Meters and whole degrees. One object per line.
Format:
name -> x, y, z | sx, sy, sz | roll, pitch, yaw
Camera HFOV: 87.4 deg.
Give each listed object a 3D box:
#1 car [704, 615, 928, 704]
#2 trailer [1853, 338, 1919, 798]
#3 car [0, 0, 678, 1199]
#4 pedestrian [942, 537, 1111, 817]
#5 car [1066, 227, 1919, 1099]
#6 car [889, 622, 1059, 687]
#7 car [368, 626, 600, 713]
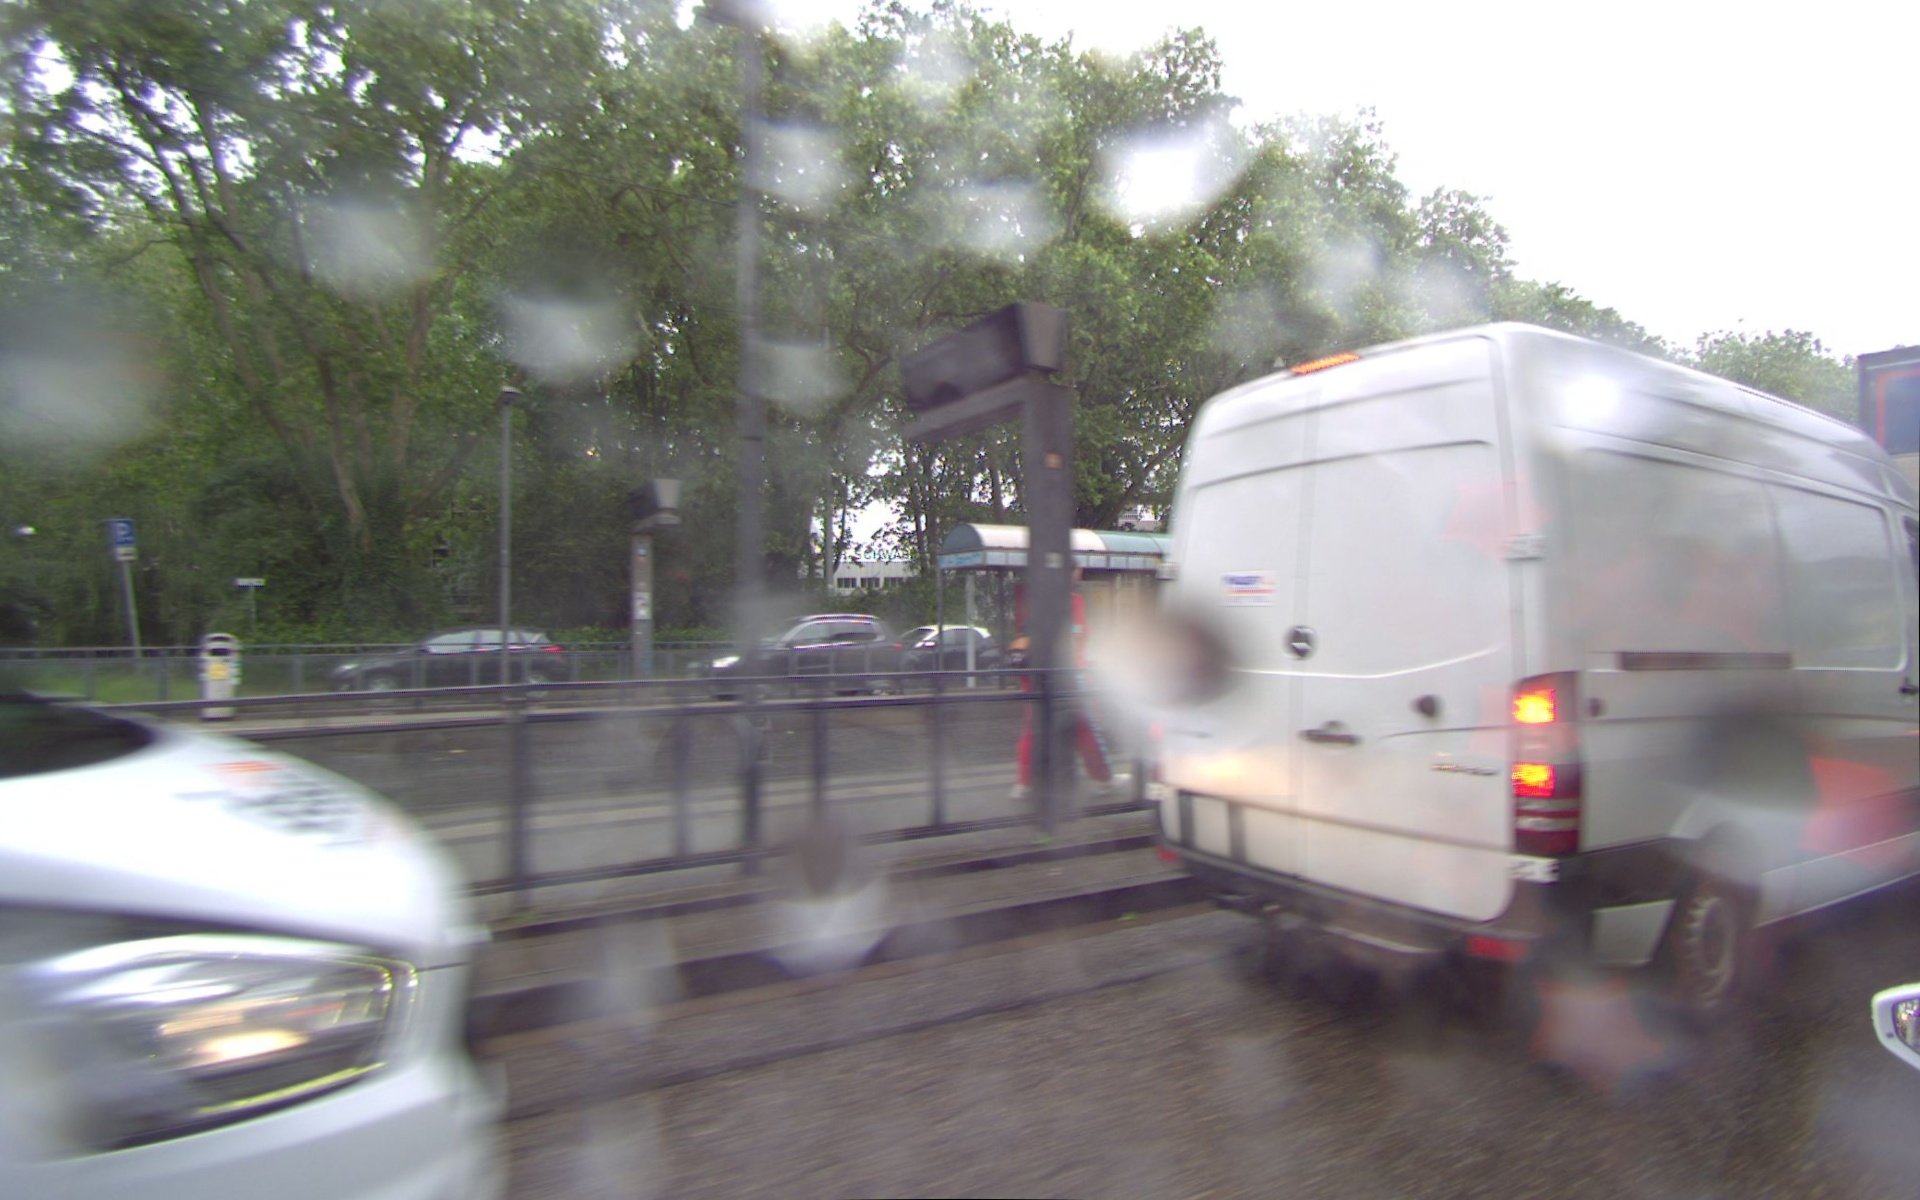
car -> -2.829, 1.131, 19.879 | 3.953, 1.602, 1.984 | 1, -2, -30
trailer -> 11.871, -0.225, 9.916 | 7.551, 3.951, 2.576 | 1, 0, -32
car -> -3.126, 0.275, 0.810 | 5.228, 2.292, 1.984 | 2, -1, -31
pedestrian -> 0.436, 0.485, 6.772 | 0.762, 1.737, 0.786 | 2, 0, -31
car -> 3.725, 0.285, 5.547 | 6.044, 2.591, 2.318 | 2, -1, -31
car -> 0.373, 1.363, 25.741 | 3.953, 1.537, 1.925 | 1, -2, -30
car -> -9.346, 1.303, 19.800 | 3.953, 1.537, 1.984 | 1, -2, -30
